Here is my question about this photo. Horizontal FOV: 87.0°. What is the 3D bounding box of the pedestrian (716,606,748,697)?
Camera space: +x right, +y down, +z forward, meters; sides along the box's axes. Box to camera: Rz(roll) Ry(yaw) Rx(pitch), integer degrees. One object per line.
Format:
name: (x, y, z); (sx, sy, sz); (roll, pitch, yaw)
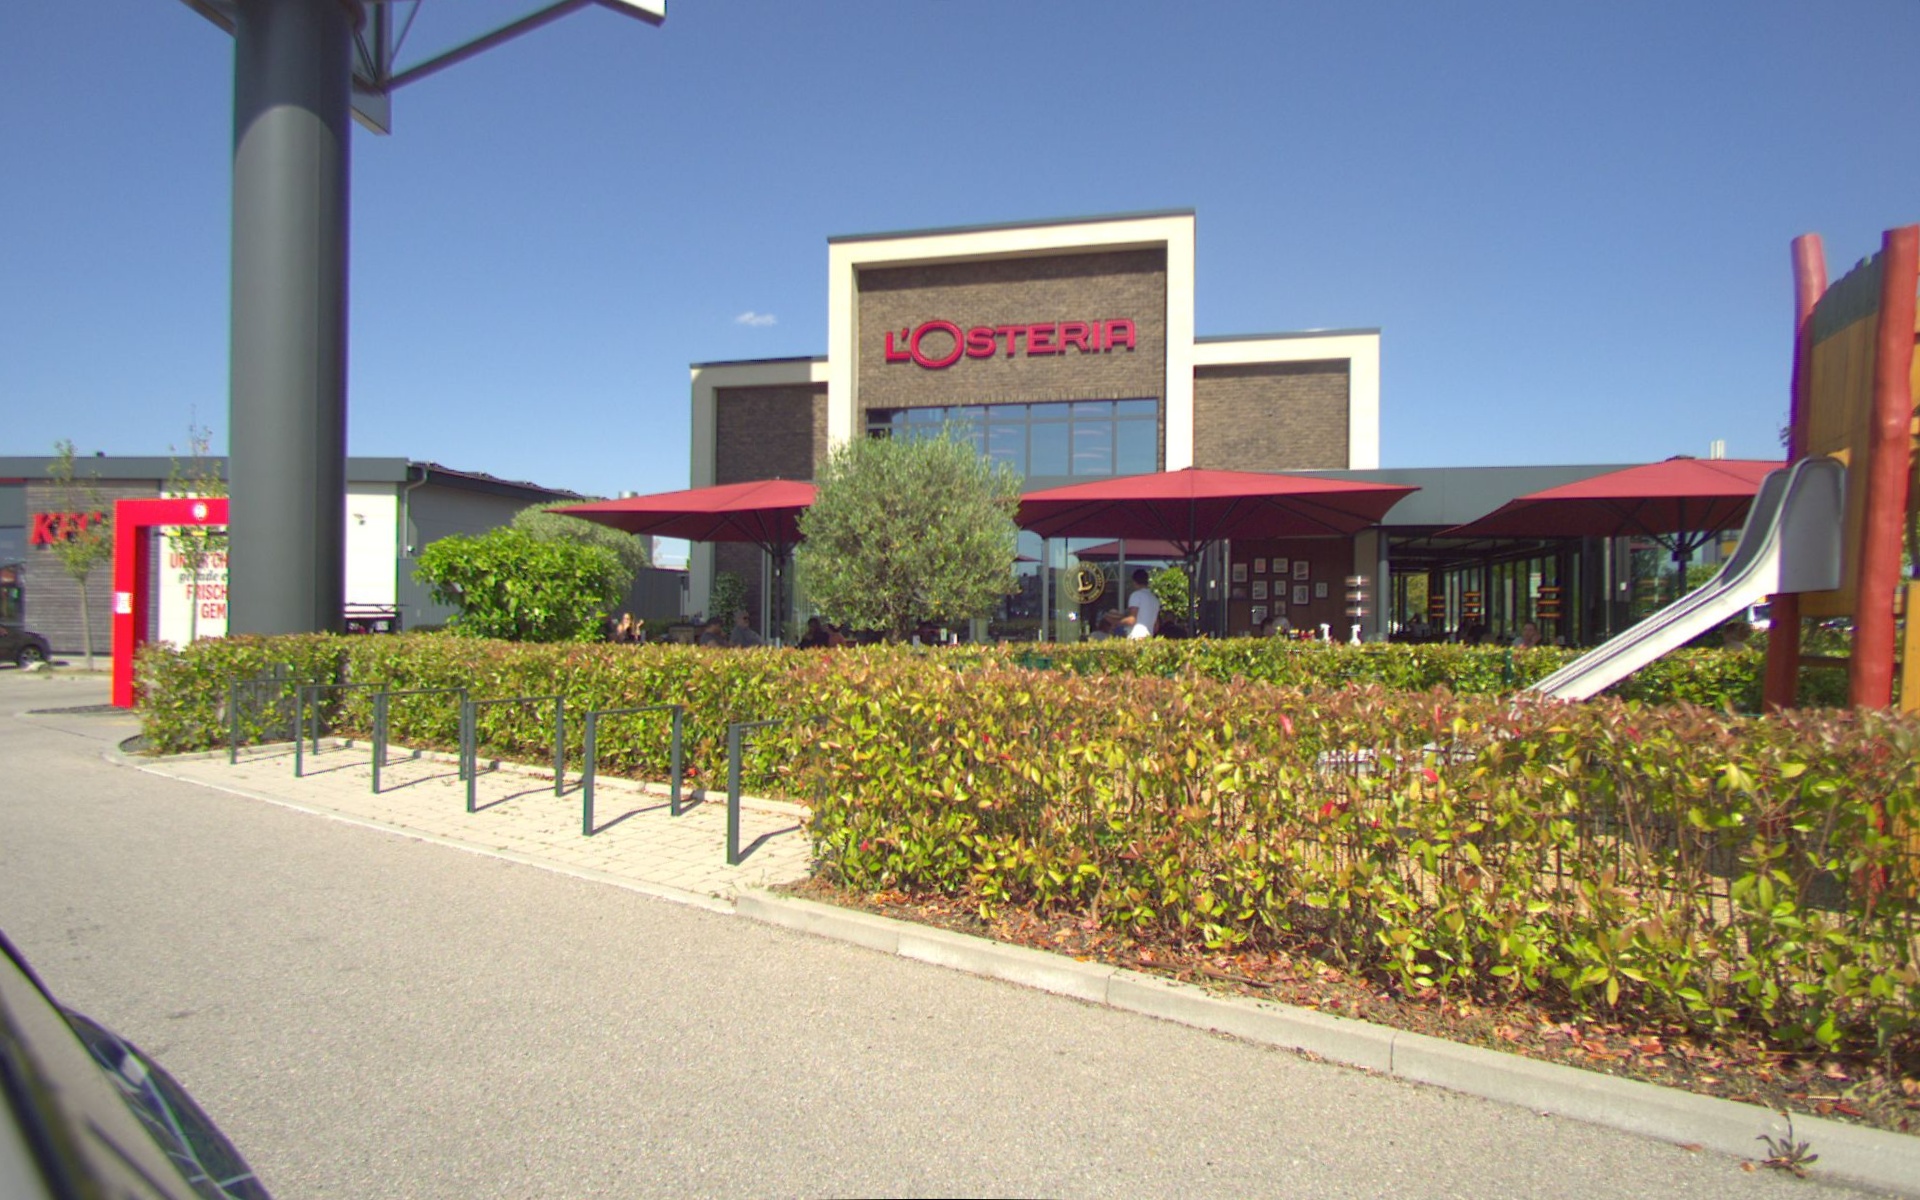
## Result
pedestrian: (-3.550, 0.796, 15.767); (0.474, 1.377, 0.652); (0, -1, -12)

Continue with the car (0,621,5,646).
car: (-60.739, 2.071, 61.339); (3.933, 1.564, 1.759); (0, -2, -34)

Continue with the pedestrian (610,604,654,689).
pedestrian: (-5.911, 0.834, 18.252); (0.563, 1.516, 0.524); (-1, -1, 11)

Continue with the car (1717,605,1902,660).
car: (25.537, 0.977, 30.540); (3.901, 1.579, 1.734); (-1, -1, 5)

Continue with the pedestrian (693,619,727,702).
pedestrian: (-3.693, 0.879, 14.969); (0.474, 1.194, 0.652); (0, -1, -12)

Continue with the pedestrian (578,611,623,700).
pedestrian: (-6.228, 0.958, 17.553); (0.563, 1.516, 0.524); (-1, -1, 11)

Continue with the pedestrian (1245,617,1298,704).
pedestrian: (4.071, 0.776, 13.230); (0.542, 1.098, 0.572); (-1, -2, 29)

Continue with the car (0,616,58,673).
car: (-26.916, 1.218, 27.099); (1.722, 1.518, 3.893); (-1, 0, 12)

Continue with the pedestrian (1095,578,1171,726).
pedestrian: (2.082, 0.612, 12.138); (0.757, 1.700, 0.781); (-1, -1, 19)

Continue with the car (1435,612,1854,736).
car: (7.955, 0.827, 12.174); (3.807, 1.318, 1.639); (-1, -1, 16)

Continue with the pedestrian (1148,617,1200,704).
pedestrian: (3.067, 0.849, 14.482); (0.612, 1.207, 0.705); (-1, -1, 21)

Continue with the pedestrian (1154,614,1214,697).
pedestrian: (3.399, 0.828, 15.352); (0.616, 1.207, 0.700); (-2, -2, 43)

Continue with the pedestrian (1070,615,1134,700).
pedestrian: (2.097, 0.833, 14.908); (0.699, 1.207, 0.617); (1, -2, -41)

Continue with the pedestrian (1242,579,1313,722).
pedestrian: (3.797, 0.591, 12.078); (0.757, 1.627, 0.781); (-1, -1, 19)

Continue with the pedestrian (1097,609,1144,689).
pedestrian: (2.497, 0.758, 15.806); (0.660, 1.207, 0.709); (-1, -1, 6)
